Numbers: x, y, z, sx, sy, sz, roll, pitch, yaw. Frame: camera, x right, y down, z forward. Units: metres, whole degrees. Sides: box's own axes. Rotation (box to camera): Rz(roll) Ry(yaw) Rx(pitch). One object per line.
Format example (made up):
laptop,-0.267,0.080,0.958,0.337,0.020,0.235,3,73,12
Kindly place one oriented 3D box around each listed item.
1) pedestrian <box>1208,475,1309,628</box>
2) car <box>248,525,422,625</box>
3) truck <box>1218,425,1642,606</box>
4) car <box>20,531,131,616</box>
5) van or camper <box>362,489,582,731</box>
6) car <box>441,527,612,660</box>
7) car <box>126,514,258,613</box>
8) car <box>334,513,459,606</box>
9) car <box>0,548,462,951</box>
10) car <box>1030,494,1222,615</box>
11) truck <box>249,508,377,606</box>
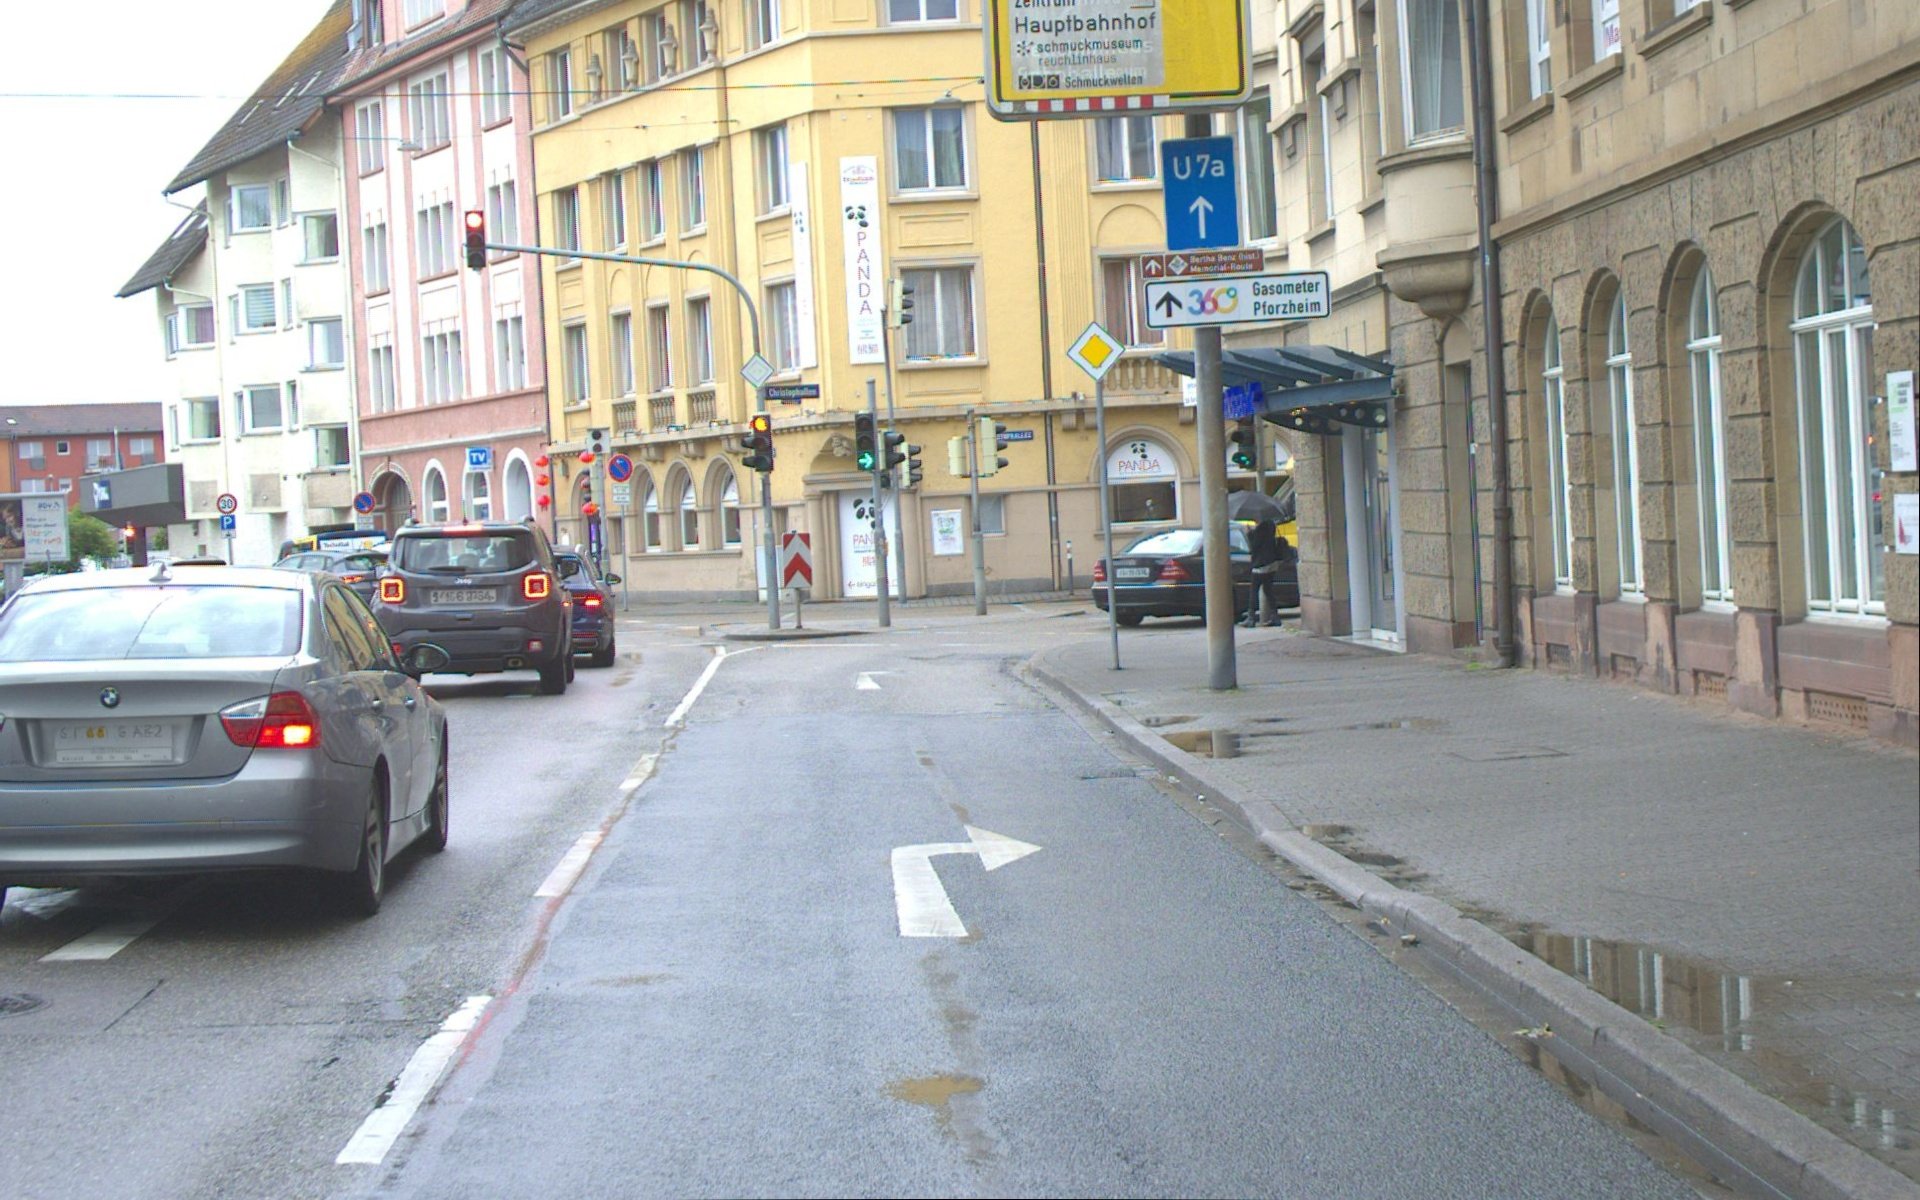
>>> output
pedestrian,3.845,-0.629,44.232,1.058,1.897,1.024,-2,2,14
car,-12.356,-0.484,67.809,1.994,1.809,4.000,-4,1,-31
truck,8.318,-1.500,61.203,7.090,2.841,2.083,-3,1,-2
car,-22.561,-0.684,87.608,1.993,2.006,4.001,-4,2,-24
van or camper,-4.690,0.049,33.508,1.854,2.139,4.143,-2,1,-5
car,-5.000,-0.109,40.134,1.802,1.401,4.685,-2,1,-5
car,-16.799,-0.811,75.038,1.993,2.006,4.001,-4,2,-23
car,-13.531,-0.990,82.393,1.761,2.172,4.001,-1,1,-28
car,-3.213,0.513,14.702,1.799,1.459,4.371,0,1,-4
car,2.287,-0.643,48.436,1.799,1.558,4.001,-3,1,-10
truck,-16.468,-1.109,87.360,2.026,2.381,4.237,-1,1,-28
